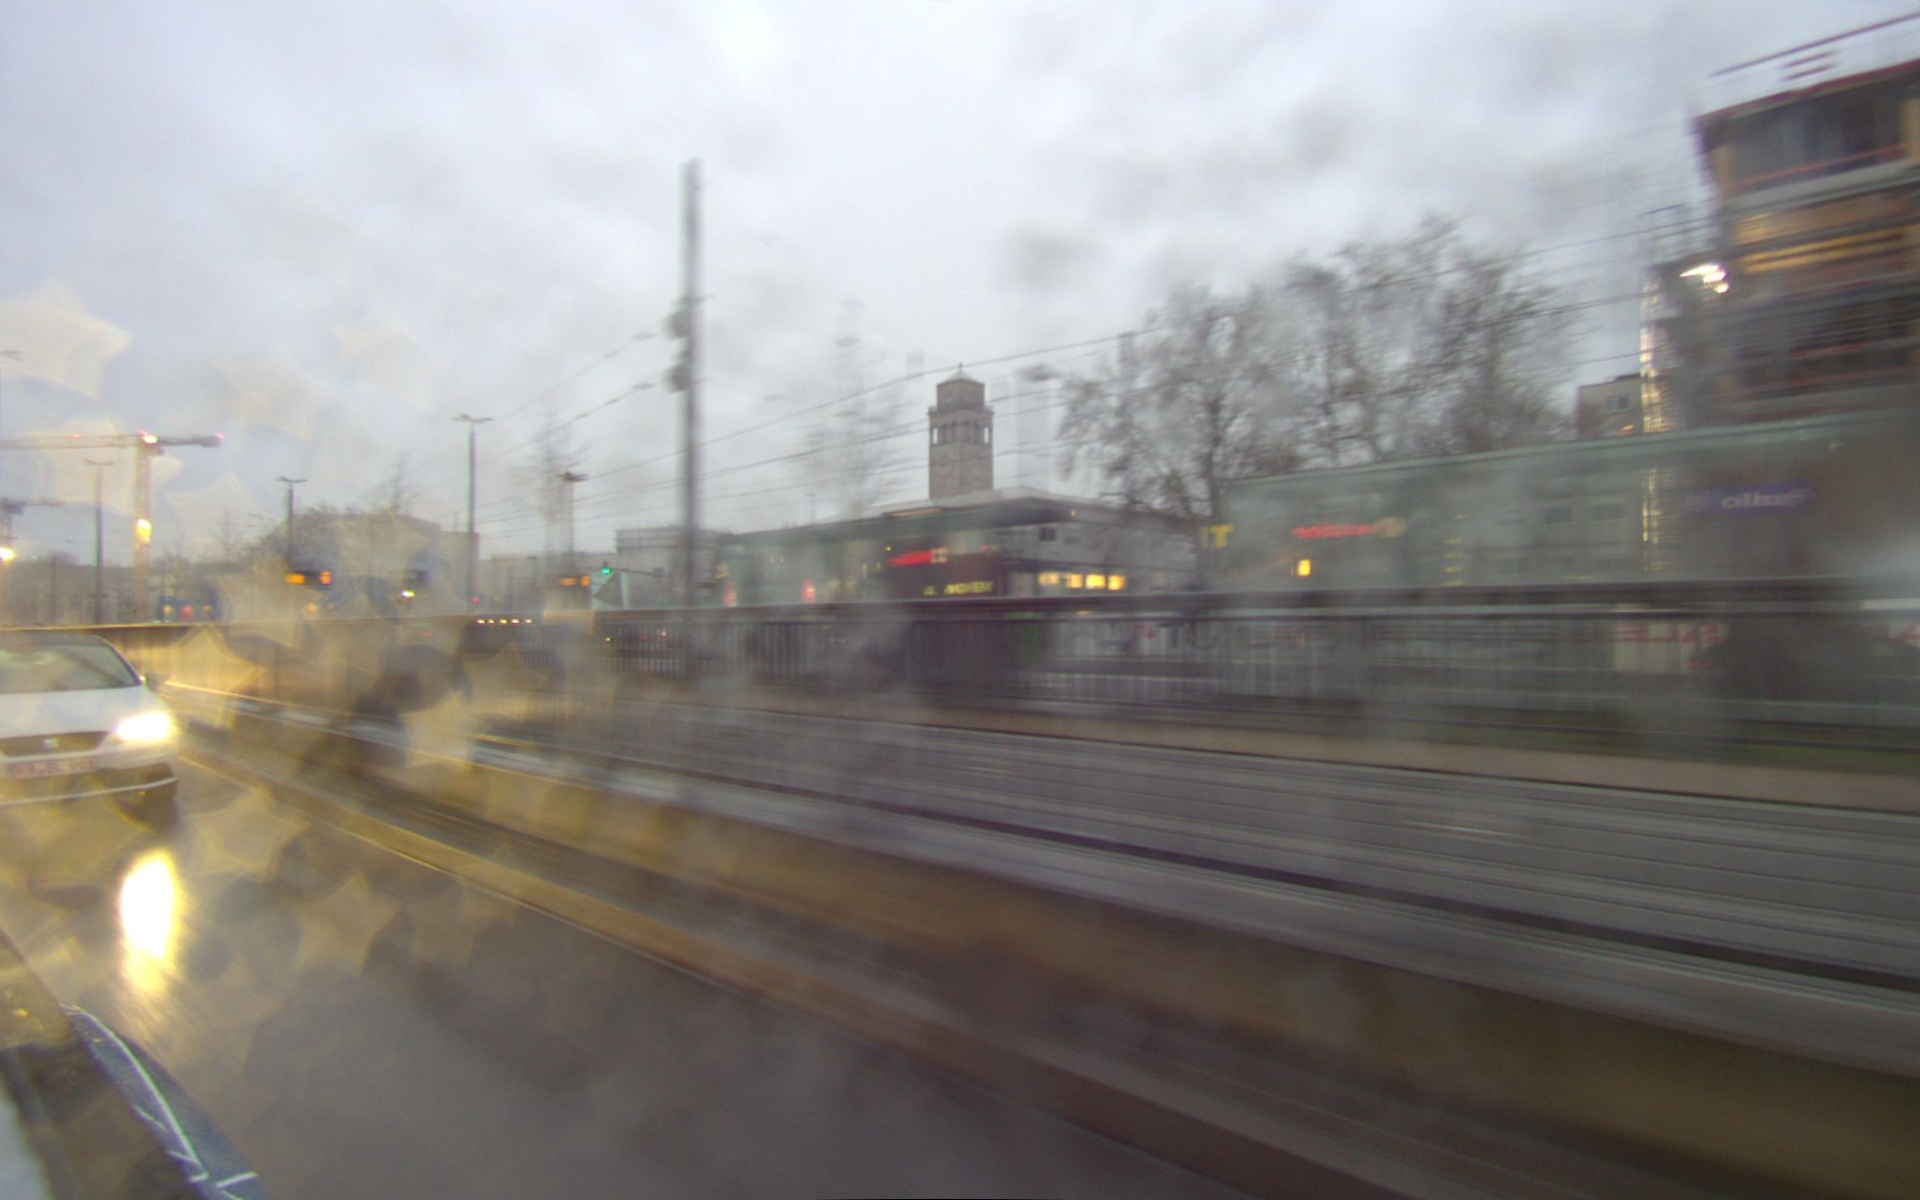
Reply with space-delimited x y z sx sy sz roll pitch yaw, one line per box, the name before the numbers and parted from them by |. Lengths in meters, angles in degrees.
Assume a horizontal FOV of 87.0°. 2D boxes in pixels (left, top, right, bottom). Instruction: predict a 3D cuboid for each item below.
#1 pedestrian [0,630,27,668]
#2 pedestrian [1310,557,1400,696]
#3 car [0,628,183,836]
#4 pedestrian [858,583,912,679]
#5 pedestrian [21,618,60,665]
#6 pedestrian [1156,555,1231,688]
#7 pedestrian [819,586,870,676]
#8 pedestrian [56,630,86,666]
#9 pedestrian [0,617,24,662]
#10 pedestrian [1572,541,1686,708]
pedestrian | -44.237 2.298 47.270 0.743 1.731 0.650 -2 -1 16
pedestrian | 4.590 0.301 11.778 0.576 1.562 0.742 0 -1 -37
car | -8.321 1.021 8.905 4.140 1.484 1.789 -2 -1 44
pedestrian | -1.264 0.508 16.999 0.576 1.562 0.742 0 -1 -37
pedestrian | -44.469 1.996 48.944 0.949 2.224 1.047 -2 -1 16
pedestrian | 3.118 0.284 13.553 0.576 1.714 0.742 0 -1 -37
pedestrian | -2.064 0.540 18.002 0.576 1.562 0.742 0 -1 -37
pedestrian | -43.286 2.316 49.281 0.758 1.727 0.856 -2 -1 16
pedestrian | -46.855 1.936 49.837 1.014 2.162 0.897 -2 -1 31
pedestrian | 6.558 0.231 9.936 0.576 1.562 0.742 0 -1 -37
